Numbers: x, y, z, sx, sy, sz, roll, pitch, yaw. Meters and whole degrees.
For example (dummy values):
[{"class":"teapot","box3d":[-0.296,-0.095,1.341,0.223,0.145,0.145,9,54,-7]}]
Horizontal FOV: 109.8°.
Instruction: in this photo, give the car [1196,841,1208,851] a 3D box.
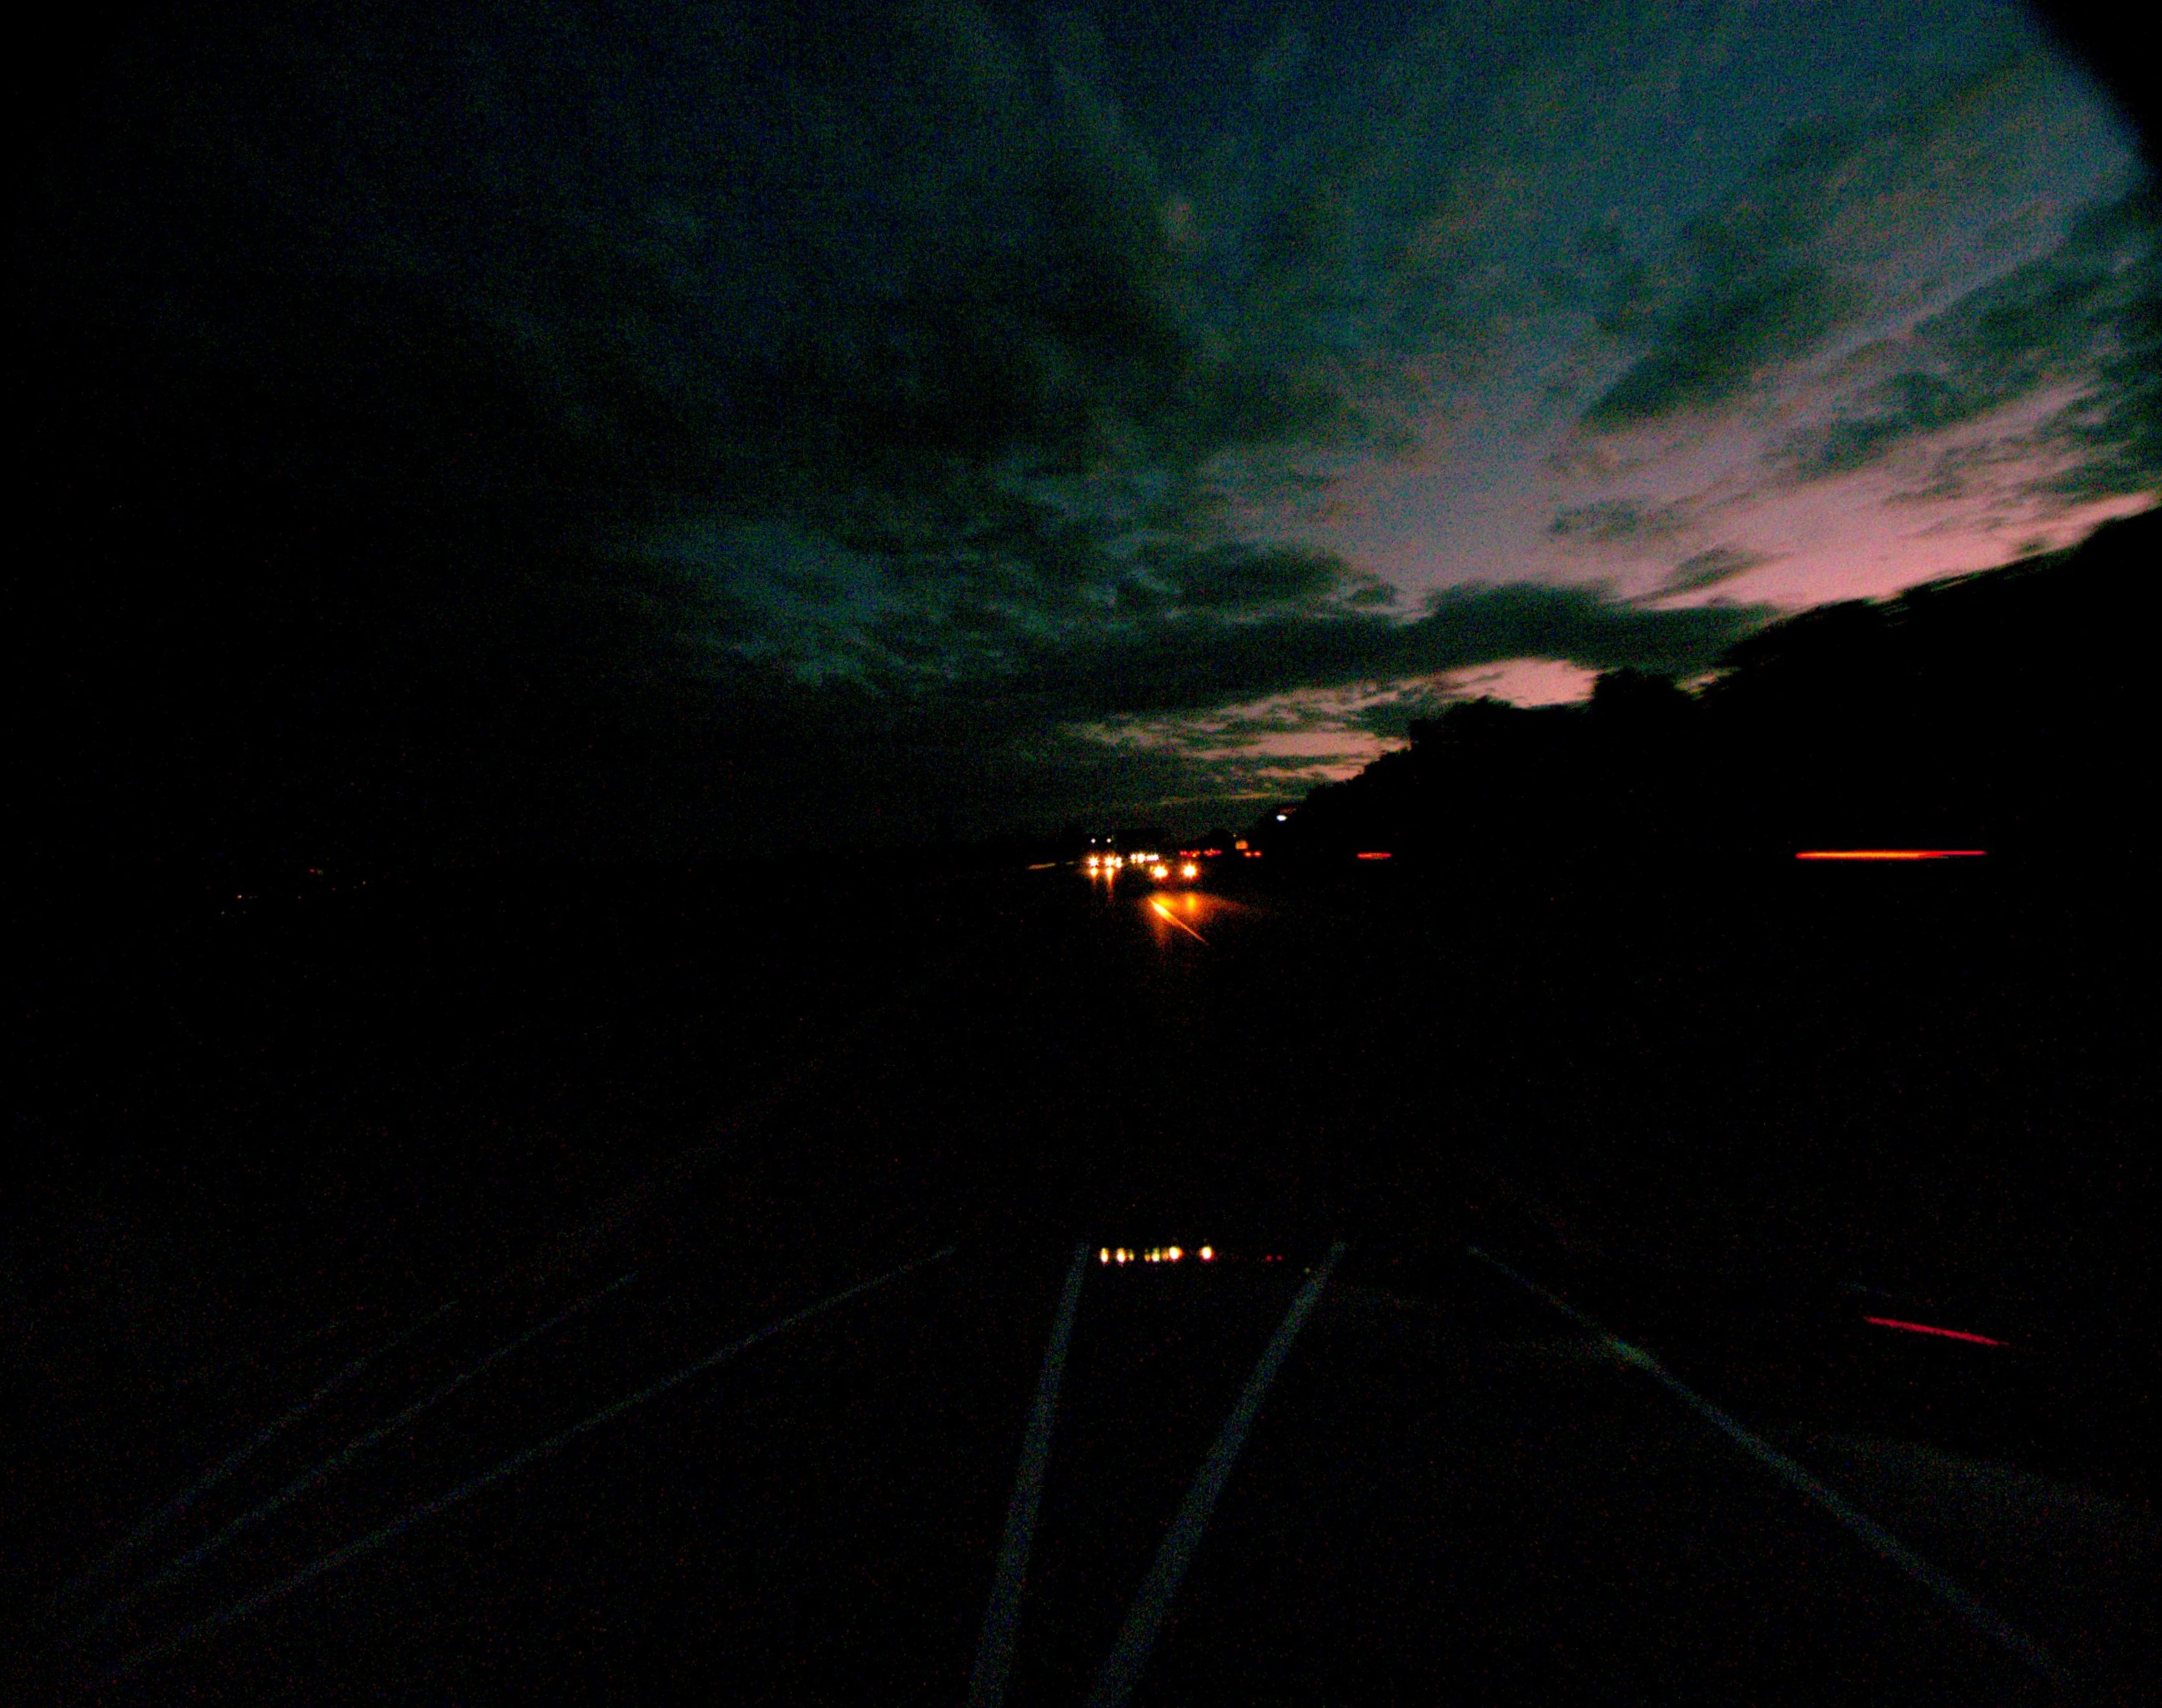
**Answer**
[{"class":"car","box3d":[30.554,-1.933,192.342,2.331,2.417,7.095,-3,1,4]}]

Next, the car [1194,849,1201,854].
[{"class":"car","box3d":[40.552,-0.759,264.169,1.998,1.496,4.559,-3,1,4]}]

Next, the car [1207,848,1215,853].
[{"class":"car","box3d":[39.595,-1.053,231.781,1.998,1.451,4.237,-3,1,4]}]

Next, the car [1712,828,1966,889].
[{"class":"car","box3d":[19.656,0.089,20.116,1.839,1.328,4.909,-3,1,1]}]

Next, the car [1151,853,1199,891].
[{"class":"car","box3d":[4.090,0.744,33.546,1.717,1.471,4.000,-3,1,3]}]

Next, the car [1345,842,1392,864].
[{"class":"car","box3d":[20.541,-0.115,54.457,1.998,1.445,3.835,-3,1,1]}]

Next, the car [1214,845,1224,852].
[{"class":"car","box3d":[36.526,-1.488,200.747,1.998,1.683,4.971,-3,1,4]}]

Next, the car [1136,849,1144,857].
[{"class":"car","box3d":[14.027,-0.296,180.921,1.652,1.654,3.776,-2,1,6]}]

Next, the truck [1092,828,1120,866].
[{"class":"truck","box3d":[3.314,-0.939,96.202,3.026,4.372,11.617,-3,1,3]}]

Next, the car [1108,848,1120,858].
[{"class":"car","box3d":[6.325,-0.179,144.253,1.998,1.715,4.001,-2,1,6]}]

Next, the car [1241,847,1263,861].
[{"class":"car","box3d":[23.111,-0.007,102.837,1.998,1.780,4.840,-3,1,2]}]
